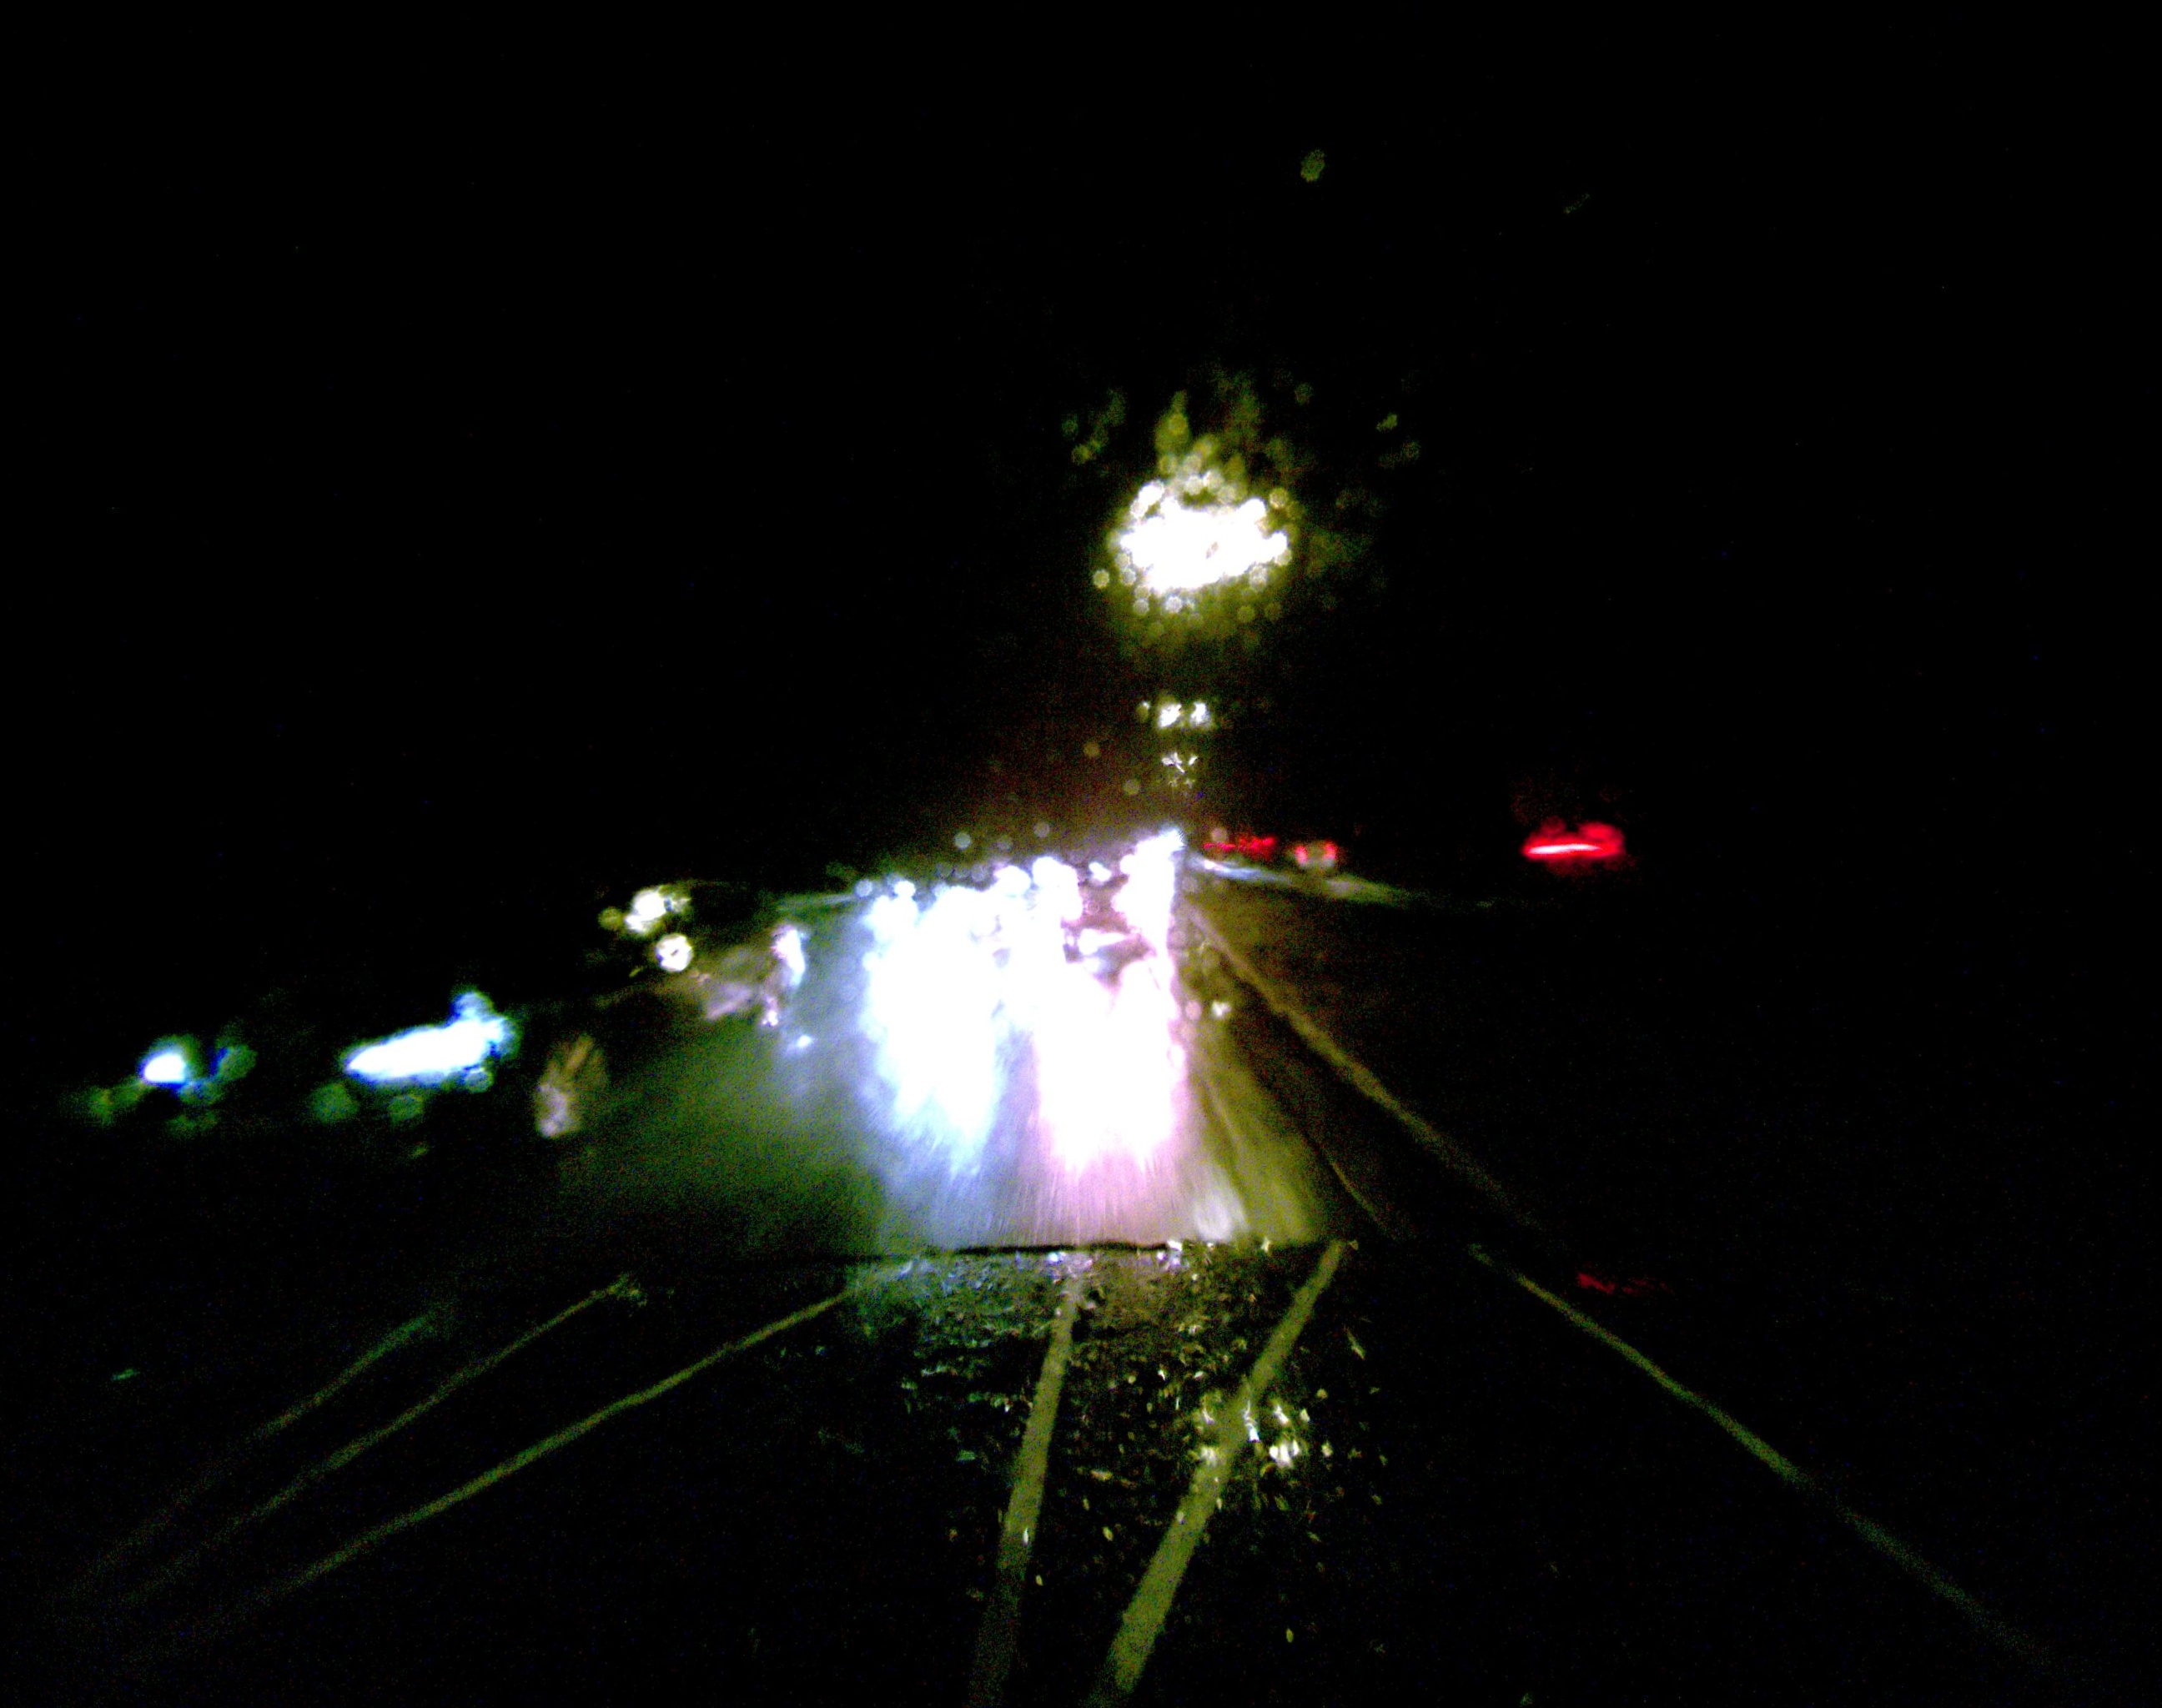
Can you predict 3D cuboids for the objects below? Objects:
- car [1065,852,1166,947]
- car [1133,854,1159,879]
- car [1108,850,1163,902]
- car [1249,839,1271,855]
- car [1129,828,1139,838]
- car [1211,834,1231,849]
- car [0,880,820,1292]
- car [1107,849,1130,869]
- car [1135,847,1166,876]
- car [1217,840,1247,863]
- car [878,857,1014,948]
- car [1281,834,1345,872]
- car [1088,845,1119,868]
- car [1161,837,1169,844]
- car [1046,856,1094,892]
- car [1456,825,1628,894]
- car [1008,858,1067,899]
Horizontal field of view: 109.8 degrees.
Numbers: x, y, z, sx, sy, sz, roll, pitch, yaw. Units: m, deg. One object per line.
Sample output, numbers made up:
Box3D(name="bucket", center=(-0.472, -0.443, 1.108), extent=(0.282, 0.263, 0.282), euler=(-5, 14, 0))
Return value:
Box3D(name="car", center=(0.737, 0.720, 13.750), extent=(1.496, 1.416, 3.391), euler=(-3, 1, 7))
Box3D(name="car", center=(4.482, 0.818, 52.545), extent=(1.605, 1.417, 3.389), euler=(-6, 1, 4))
Box3D(name="car", center=(1.871, 0.692, 25.586), extent=(1.605, 1.417, 3.390), euler=(-6, 1, 5))
Box3D(name="car", center=(18.854, -0.739, 80.016), extent=(1.715, 1.414, 4.672), euler=(-2, -3, 7))
Box3D(name="car", center=(11.145, -4.391, 159.090), extent=(1.998, 2.002, 4.000), euler=(-3, 1, 5))
Box3D(name="car", center=(15.882, -1.467, 86.495), extent=(1.873, 1.598, 4.249), euler=(-3, 2, 7))
Box3D(name="car", center=(-3.719, 1.090, 5.541), extent=(1.676, 1.497, 4.561), euler=(-5, 0, 4))
Box3D(name="car", center=(3.756, 0.484, 74.864), extent=(1.998, 1.790, 4.001), euler=(-3, 1, 5))
Box3D(name="car", center=(5.416, 0.583, 59.483), extent=(1.998, 2.002, 3.999), euler=(-4, 1, 2))
Box3D(name="car", center=(12.762, -0.253, 64.463), extent=(1.769, 1.622, 4.249), euler=(-3, 3, 3))
Box3D(name="car", center=(-2.799, 0.949, 16.839), extent=(1.710, 1.513, 4.415), euler=(-4, 1, 6))
Box3D(name="car", center=(10.470, -0.044, 34.576), extent=(1.853, 1.562, 3.508), euler=(-3, 0, 2))
Box3D(name="car", center=(1.778, 0.154, 57.330), extent=(1.998, 1.589, 4.392), euler=(-3, 1, 5))
Box3D(name="car", center=(21.678, -3.433, 196.325), extent=(1.997, 1.669, 4.001), euler=(-4, 1, 8))
Box3D(name="car", center=(-0.527, 1.020, 40.198), extent=(1.998, 1.589, 4.392), euler=(-3, 1, 5))
Box3D(name="car", center=(12.234, 0.098, 20.563), extent=(1.779, 1.584, 4.559), euler=(-2, 1, -1))
Box3D(name="car", center=(-1.754, 0.978, 32.077), extent=(1.742, 1.409, 4.140), euler=(-4, 1, 6))
